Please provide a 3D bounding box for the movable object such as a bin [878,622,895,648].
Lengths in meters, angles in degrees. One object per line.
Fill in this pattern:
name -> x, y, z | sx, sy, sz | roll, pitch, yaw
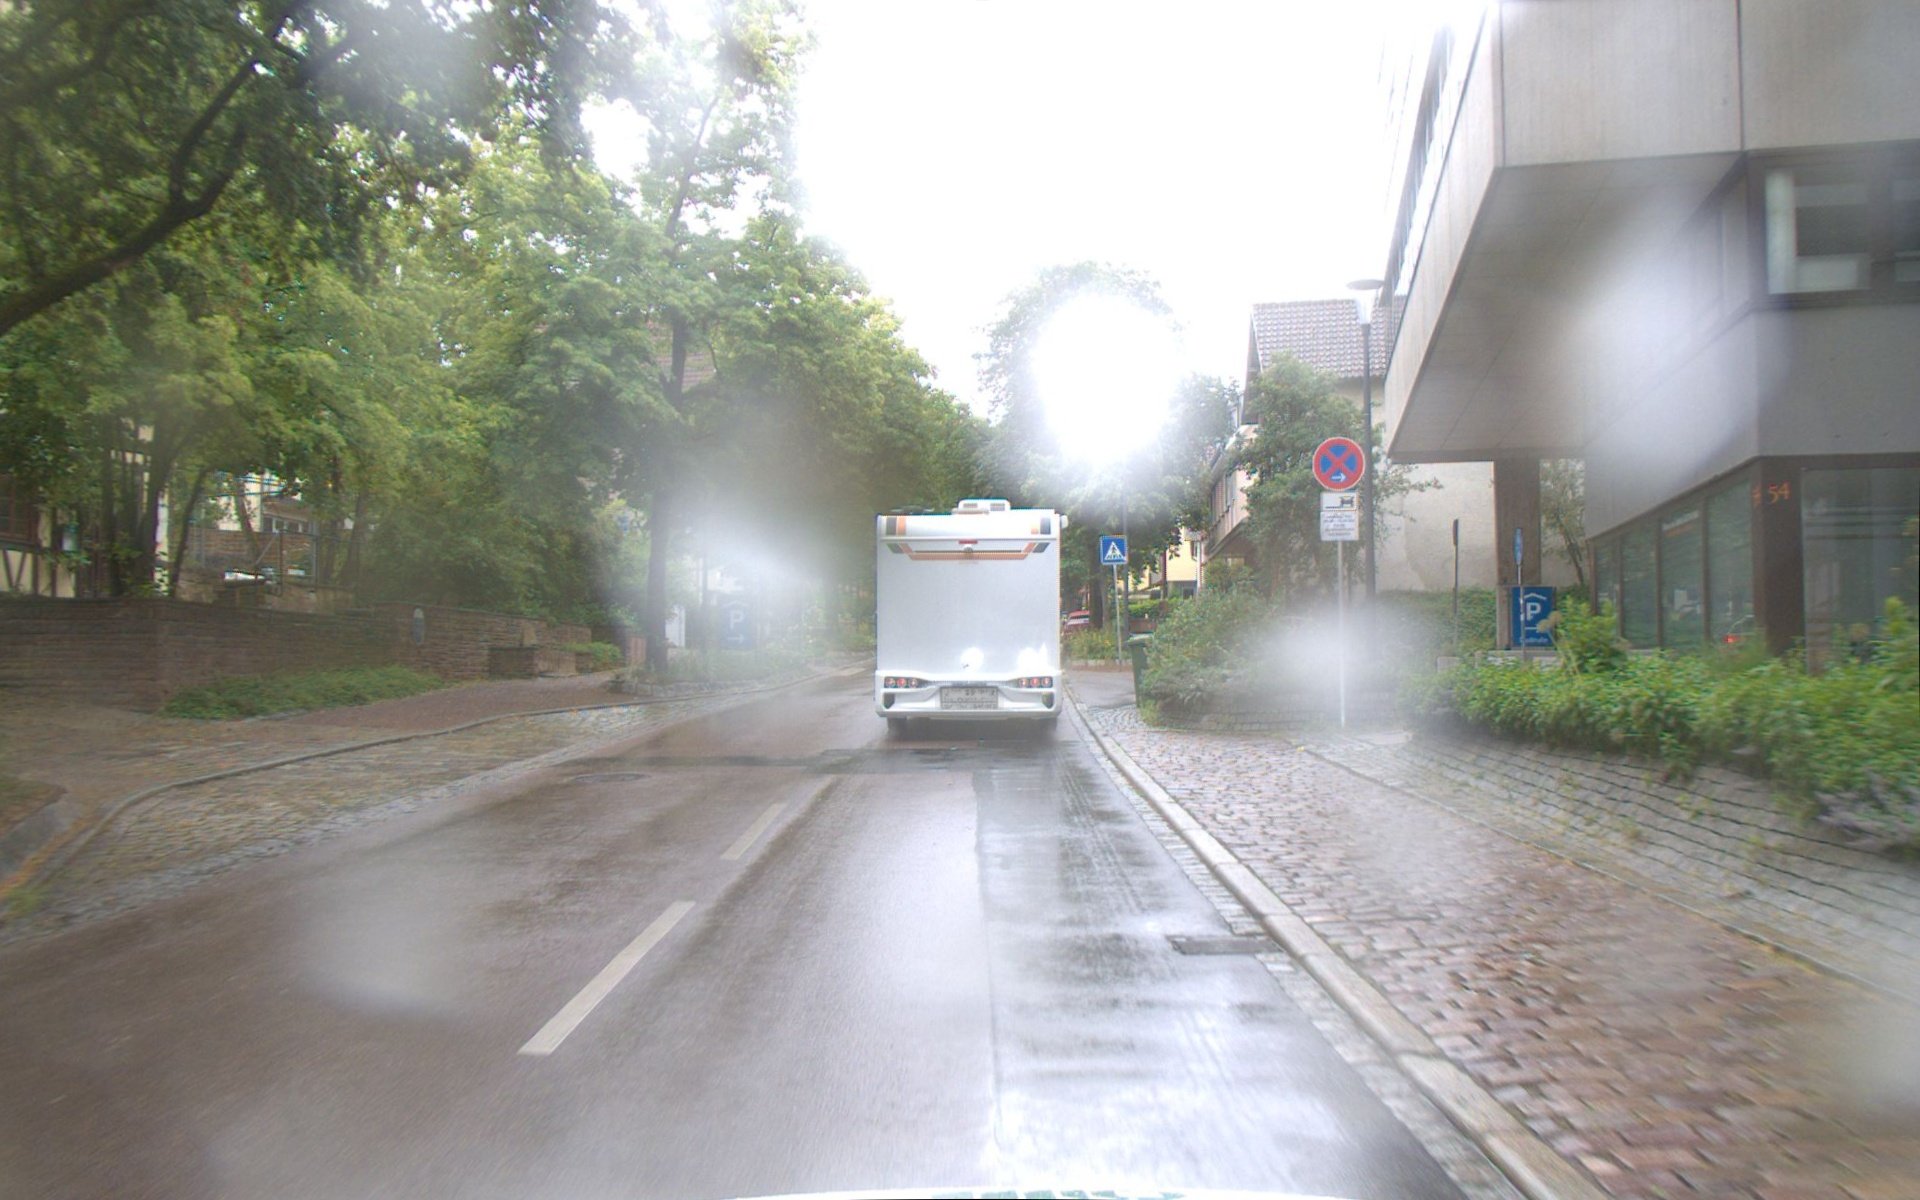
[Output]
movable object such as a bin -> -3.101, 1.483, 69.971 | 0.656, 1.124, 0.817 | -1, -2, 2

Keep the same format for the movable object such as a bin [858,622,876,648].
movable object such as a bin -> -3.965, 1.497, 70.653 | 0.656, 1.124, 0.817 | -1, -2, 2

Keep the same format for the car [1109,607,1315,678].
car -> 5.372, 0.894, 35.645 | 4.194, 1.441, 1.840 | 1, 0, 1

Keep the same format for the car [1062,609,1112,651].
car -> 4.868, 1.121, 63.060 | 1.816, 1.498, 4.368 | 1, 0, 5

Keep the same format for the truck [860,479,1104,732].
truck -> 0.369, 0.150, 22.084 | 2.747, 2.846, 6.108 | -1, -2, 2

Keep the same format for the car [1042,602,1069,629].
car -> 5.976, 0.985, 103.184 | 1.615, 1.569, 3.531 | -2, -2, 3

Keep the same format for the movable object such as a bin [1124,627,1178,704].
movable object such as a bin -> 2.919, 0.996, 25.291 | 0.689, 1.144, 0.571 | -2, -2, 18
